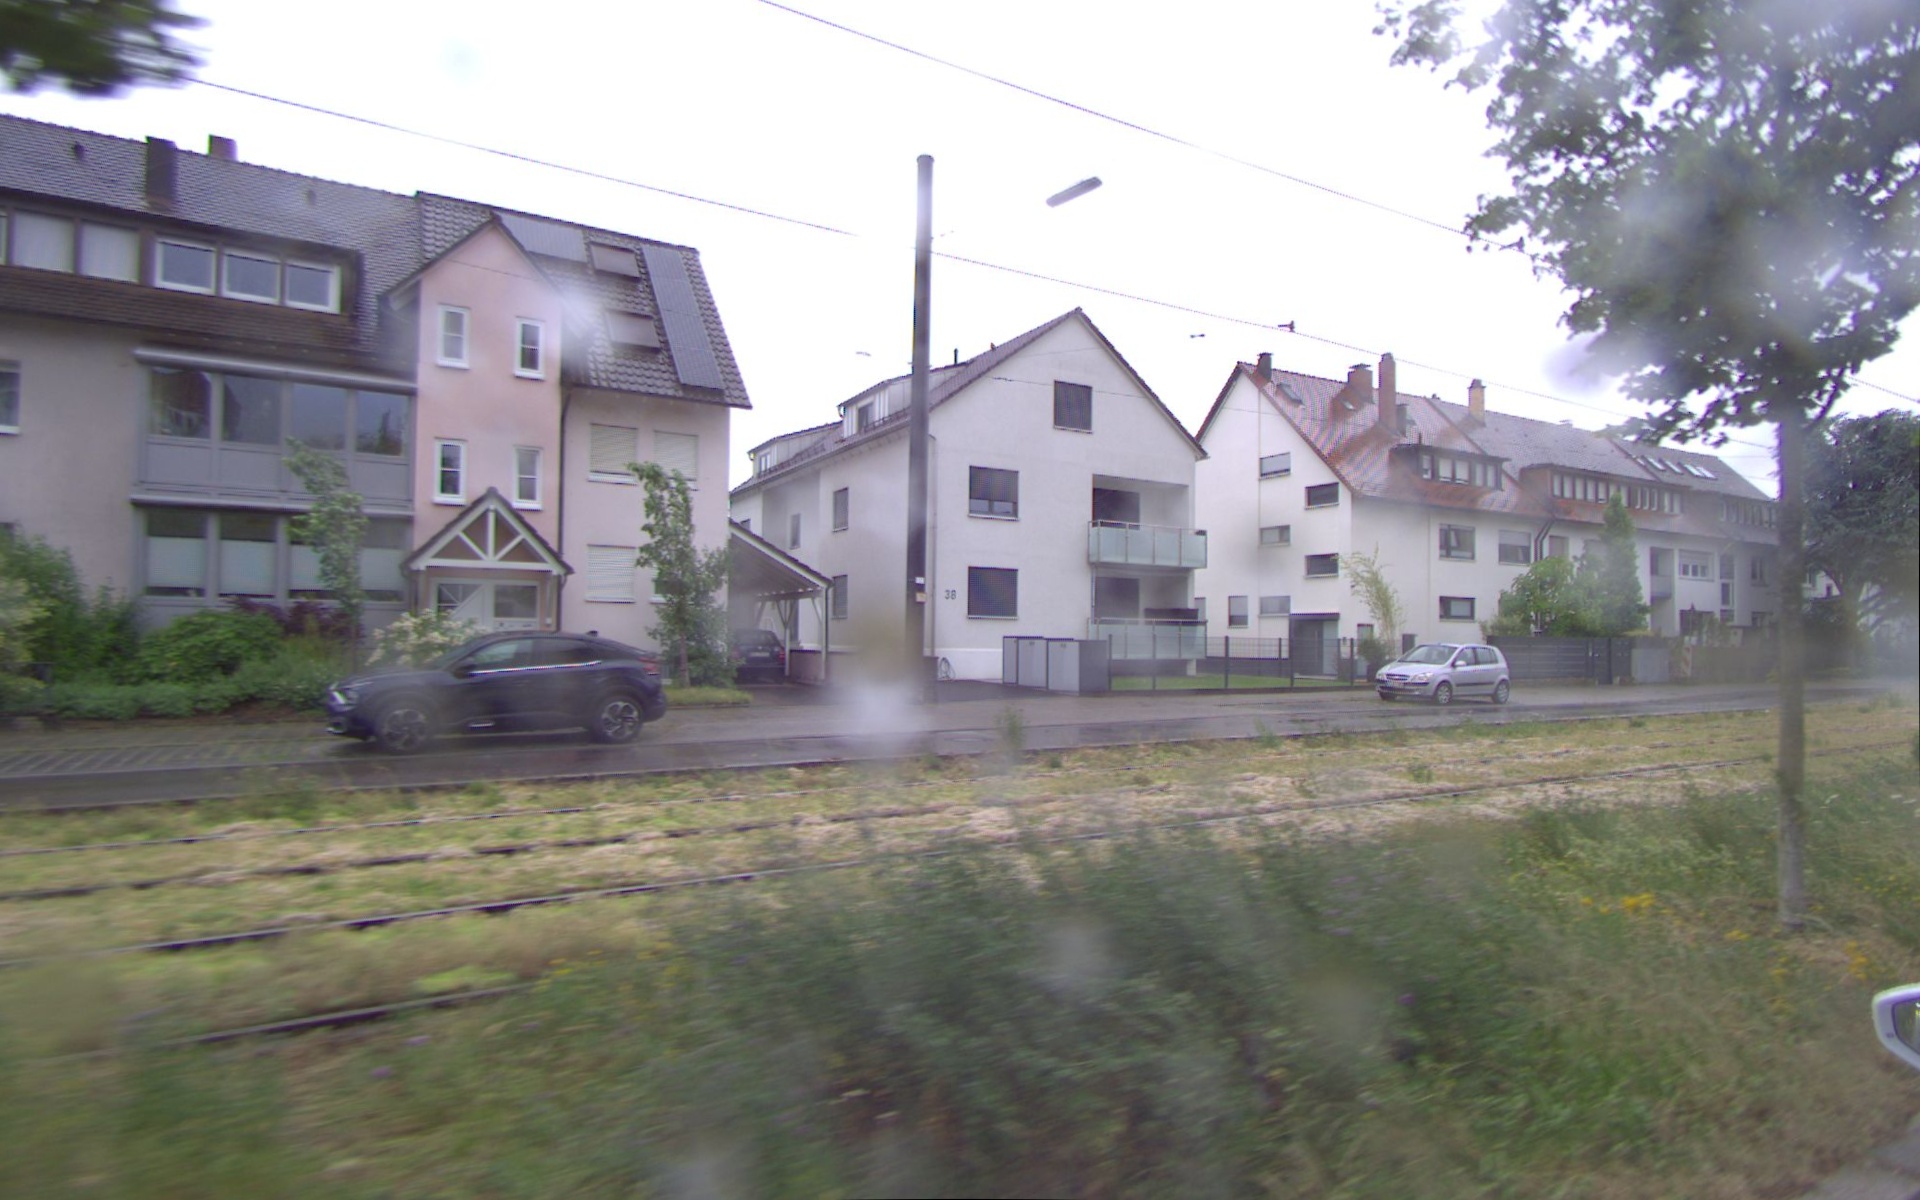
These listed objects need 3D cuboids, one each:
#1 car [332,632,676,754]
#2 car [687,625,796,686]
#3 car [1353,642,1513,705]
[{"bbox_3d":[-6.299,1.240,14.050,4.128,1.445,1.827,3,-2,-32],"label":"car"},{"bbox_3d":[-6.098,1.494,27.721,1.820,1.521,3.969,3,-2,-30],"label":"car"},{"bbox_3d":[11.911,1.825,25.279,3.617,1.432,1.983,3,-2,-32],"label":"car"}]
